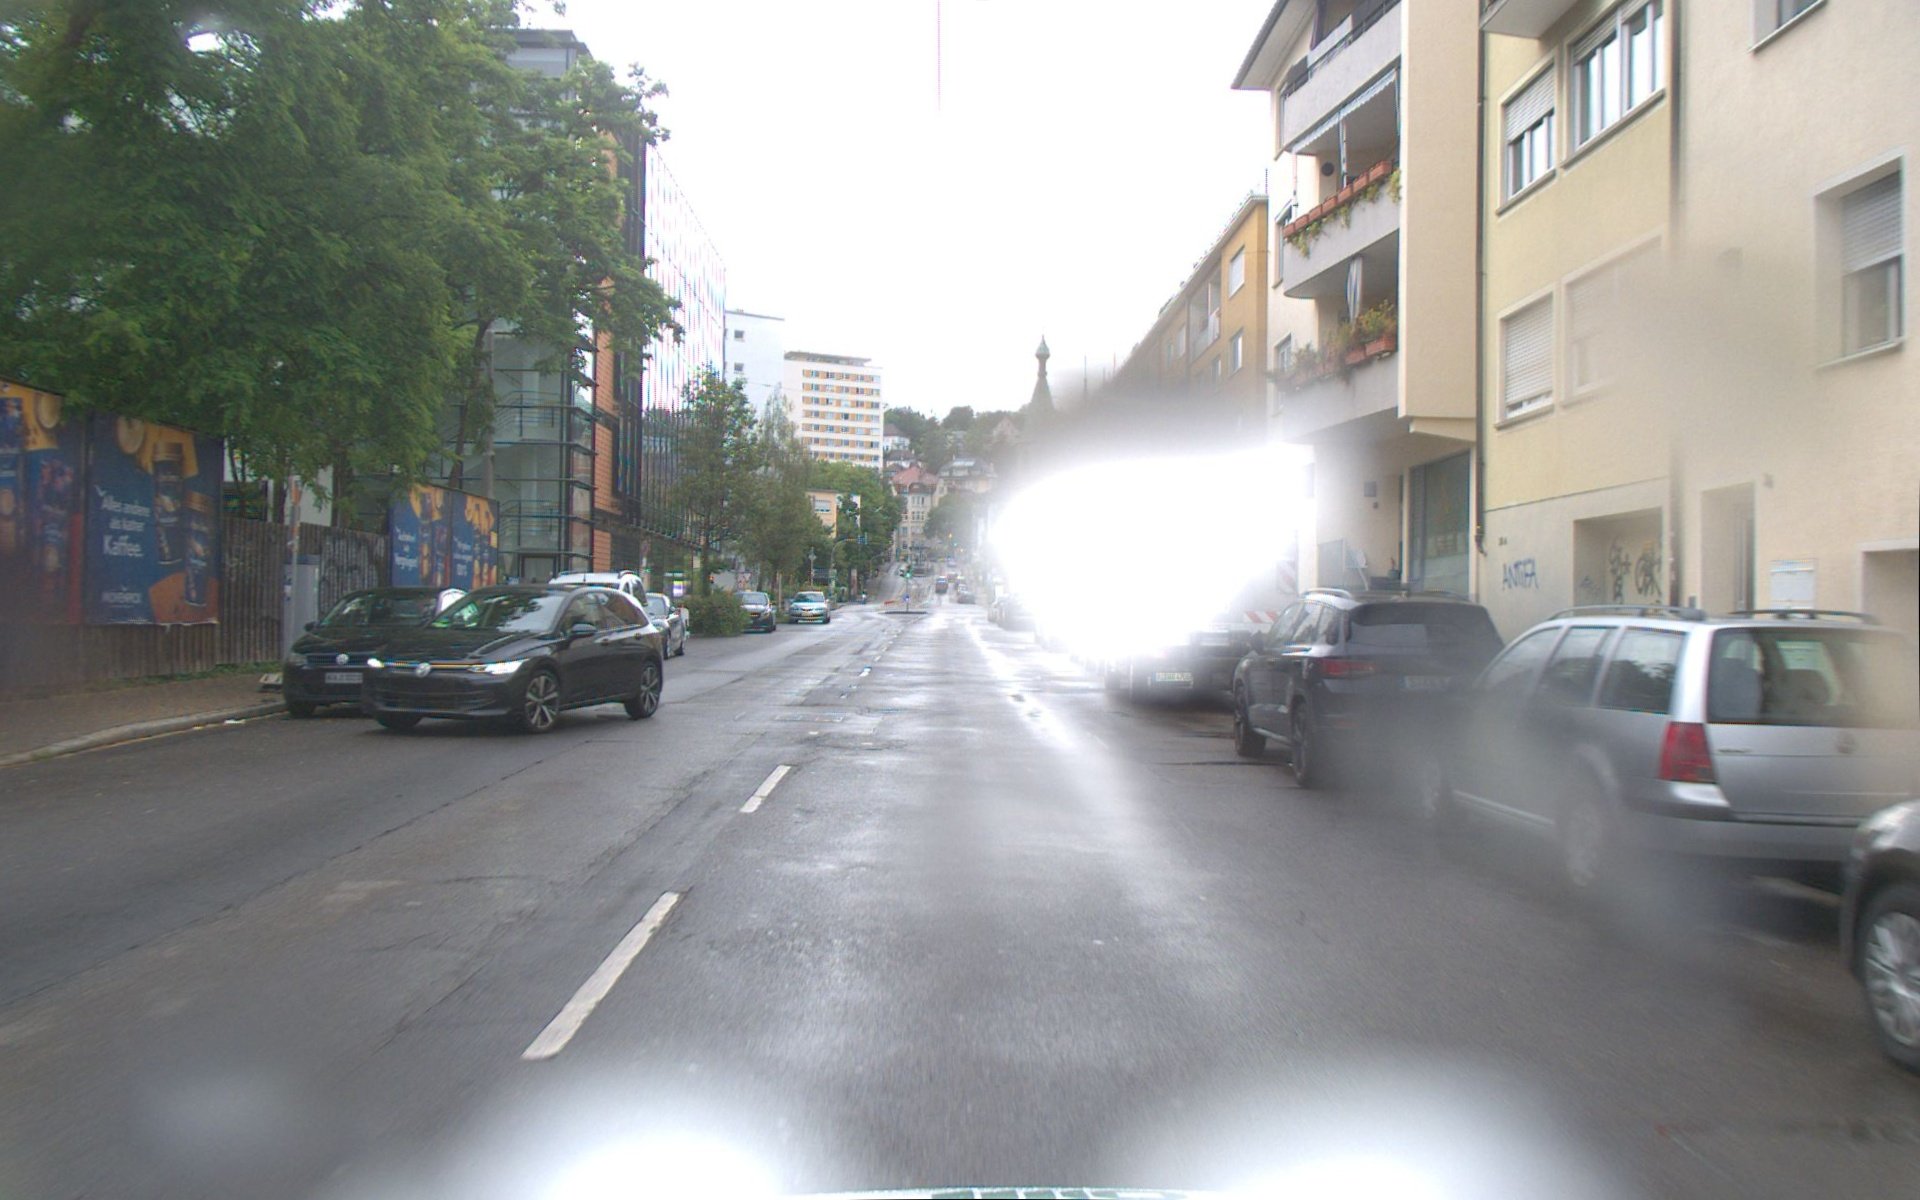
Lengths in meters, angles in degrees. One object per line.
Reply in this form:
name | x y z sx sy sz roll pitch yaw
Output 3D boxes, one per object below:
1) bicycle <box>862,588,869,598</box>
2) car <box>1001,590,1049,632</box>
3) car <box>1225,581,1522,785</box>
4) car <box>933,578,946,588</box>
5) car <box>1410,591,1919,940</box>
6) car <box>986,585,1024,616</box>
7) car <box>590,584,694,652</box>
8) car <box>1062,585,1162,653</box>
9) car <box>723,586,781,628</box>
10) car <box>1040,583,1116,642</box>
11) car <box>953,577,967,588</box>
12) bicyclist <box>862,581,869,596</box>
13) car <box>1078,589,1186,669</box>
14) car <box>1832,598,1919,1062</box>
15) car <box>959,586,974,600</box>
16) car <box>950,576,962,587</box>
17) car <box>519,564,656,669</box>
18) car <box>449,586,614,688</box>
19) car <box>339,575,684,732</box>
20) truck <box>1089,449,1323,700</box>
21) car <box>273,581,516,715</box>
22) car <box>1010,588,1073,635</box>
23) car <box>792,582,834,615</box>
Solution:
bicycle | -10.483 -0.771 183.394 0.663 1.127 1.799 1 0 -4
car | 2.742 0.442 70.548 1.781 1.681 4.075 2 0 -1
car | 3.609 0.645 15.156 1.629 1.600 4.097 1 0 -1
car | -3.108 -2.542 247.848 1.869 1.536 3.999 1 0 -1
car | 3.948 0.722 9.347 1.629 1.526 4.097 1 0 -1
car | 2.383 0.015 87.937 1.781 1.549 4.075 2 0 -1
car | -6.964 0.382 36.611 1.689 1.400 4.341 0 0 -3
car | 3.384 0.433 37.450 1.630 1.446 3.918 1 -1 -4
car | -7.578 0.263 60.560 1.767 1.476 4.655 0 0 -3
car | 3.155 0.327 44.813 1.630 1.528 3.919 0 0 -2
car | -0.003 -2.561 241.786 1.854 1.536 3.999 2 0 -1
bicyclist | -10.476 -1.286 183.357 0.663 1.690 0.649 1 -1 -4
car | 3.302 0.524 32.458 1.629 1.446 4.041 1 0 -1
car | 3.903 0.760 4.133 1.545 1.496 3.501 1 0 -1
car | 0.773 -0.898 205.288 1.696 1.682 4.001 1 1 2
car | -0.615 -2.888 257.981 1.869 1.536 3.999 2 0 -1
car | -6.917 0.300 31.128 1.689 1.832 4.342 0 0 -2
car | -6.754 0.556 26.480 1.648 1.488 4.275 0 0 -2
car | -4.568 0.490 17.605 1.766 1.440 4.387 0 0 11
truck | 3.458 -0.325 24.893 2.419 3.228 7.035 1 0 0
car | -6.582 0.521 19.689 1.648 1.423 3.909 0 0 -2
car | 2.509 0.349 51.683 1.630 1.424 3.919 0 0 -2
car | -6.726 -0.063 75.872 1.675 1.476 4.292 0 0 -2
